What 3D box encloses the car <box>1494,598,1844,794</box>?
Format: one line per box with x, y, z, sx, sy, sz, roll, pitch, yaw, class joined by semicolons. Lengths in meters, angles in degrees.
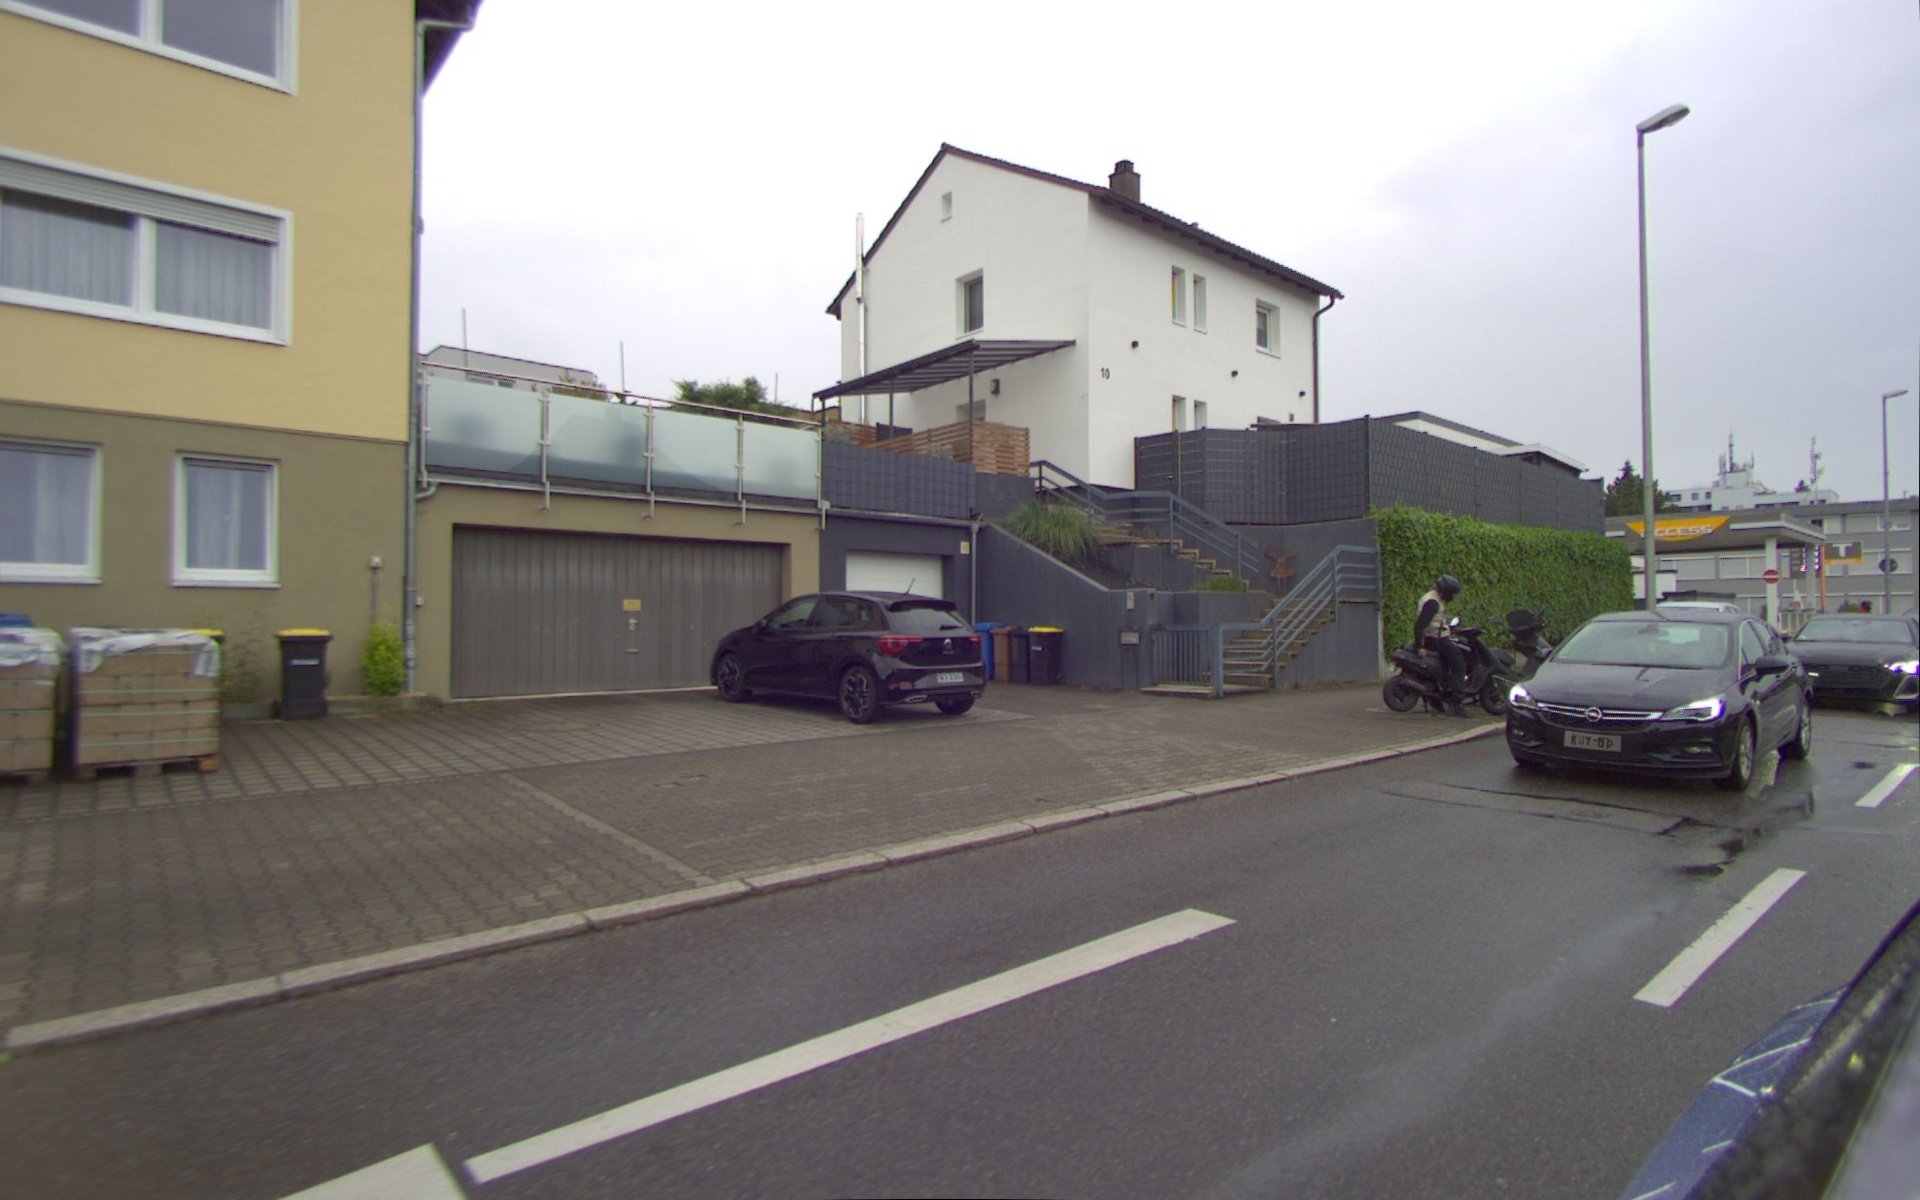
6.805;0.725;9.569;3.929;1.468;1.759;0;-1;-40;car

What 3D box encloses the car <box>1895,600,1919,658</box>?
27.050;0.761;27.589;3.930;1.538;1.870;0;-1;-41;car

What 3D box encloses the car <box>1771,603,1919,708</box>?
14.615;0.772;16.113;4.657;1.442;1.869;0;-1;-41;car

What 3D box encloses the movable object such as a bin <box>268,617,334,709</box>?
-7.136;0.665;10.961;0.533;0.960;0.490;0;-1;-42;movable object such as a bin

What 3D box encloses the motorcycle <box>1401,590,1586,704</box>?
7.229;0.620;13.796;2.053;1.469;0.821;1;-1;6;motorcycle

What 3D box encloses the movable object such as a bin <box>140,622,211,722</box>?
-7.913;0.703;10.206;0.533;0.960;0.490;0;-1;-42;movable object such as a bin

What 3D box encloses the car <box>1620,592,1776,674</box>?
15.400;0.619;21.025;4.456;1.529;1.703;0;-1;-42;car

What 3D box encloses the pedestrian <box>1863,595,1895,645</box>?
31.336;0.685;34.515;0.578;1.677;0.608;-1;-1;20;pedestrian

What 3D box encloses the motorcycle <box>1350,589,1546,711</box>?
6.071;0.609;12.699;2.056;1.469;0.757;-1;-1;11;motorcycle

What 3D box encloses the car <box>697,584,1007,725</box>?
-1.469;0.538;12.514;1.837;1.451;3.992;0;1;-42;car

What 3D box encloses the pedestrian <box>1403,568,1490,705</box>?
6.072;0.447;12.665;0.819;1.671;0.620;-1;-1;10;pedestrian
